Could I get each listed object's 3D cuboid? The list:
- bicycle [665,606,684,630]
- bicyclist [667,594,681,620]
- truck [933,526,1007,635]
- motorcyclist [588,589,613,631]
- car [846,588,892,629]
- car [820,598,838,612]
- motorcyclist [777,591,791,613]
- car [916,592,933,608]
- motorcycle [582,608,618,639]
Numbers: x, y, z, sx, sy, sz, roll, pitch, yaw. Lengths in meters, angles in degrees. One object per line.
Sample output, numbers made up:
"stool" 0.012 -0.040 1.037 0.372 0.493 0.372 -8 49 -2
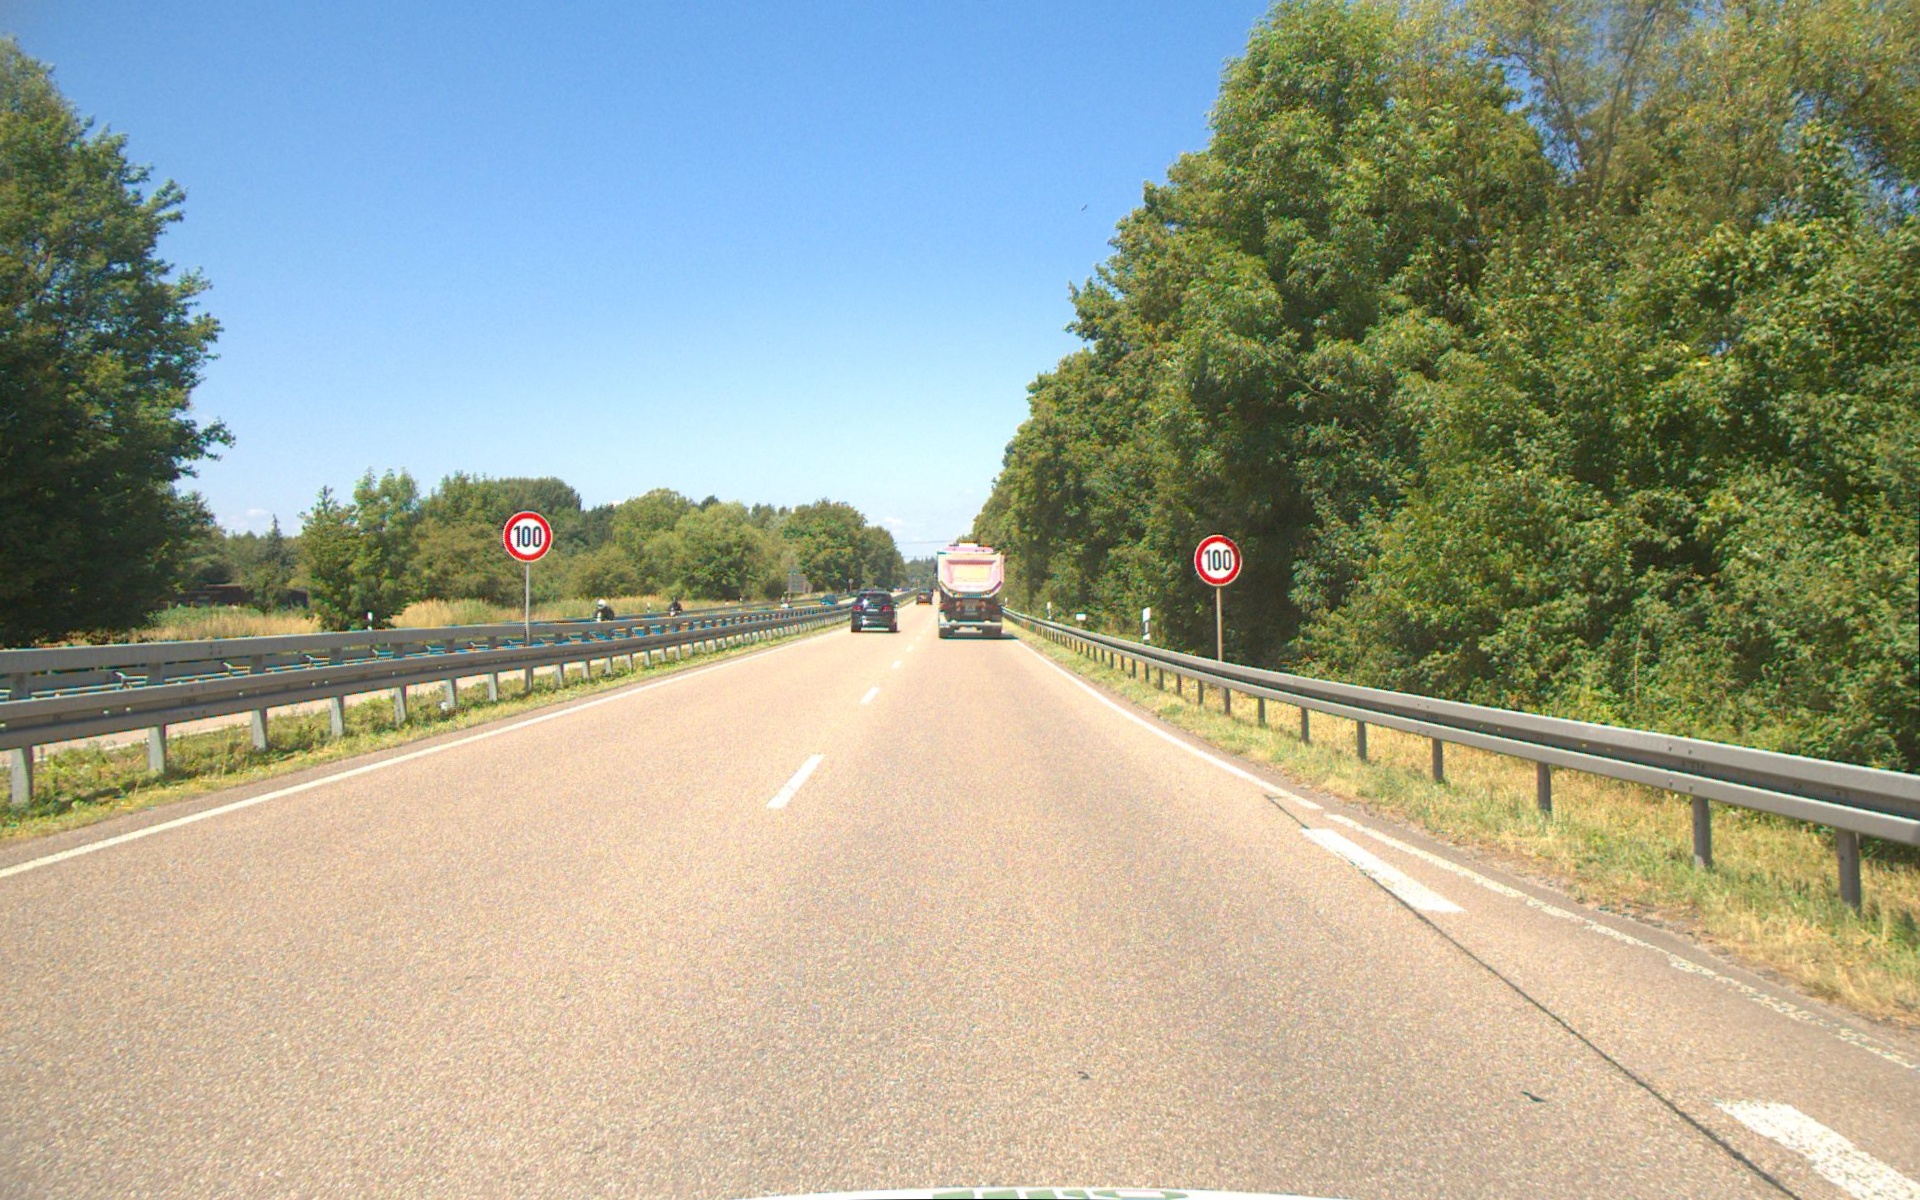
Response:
"bicycle" -14.302 0.907 82.878 0.601 1.178 2.280 1 0 -1
"bicyclist" -14.289 0.336 82.692 0.601 1.299 0.608 1 -1 -1
"truck" 0.276 -0.778 67.348 2.665 3.999 12.367 1 0 -1
"motorcyclist" -13.027 0.375 59.897 0.703 1.508 0.809 1 -1 0
"car" -3.934 0.394 72.003 1.820 1.701 3.998 1 -1 -1
"car" -13.316 0.496 167.932 1.595 1.355 3.535 0 0 -1
"motorcyclist" -13.599 0.170 127.758 0.926 1.645 0.809 -1 0 -2
"car" -4.003 0.010 186.403 1.820 1.748 3.998 1 -1 -1
"motorcycle" -13.009 0.853 59.874 0.712 1.083 2.666 1 0 0
